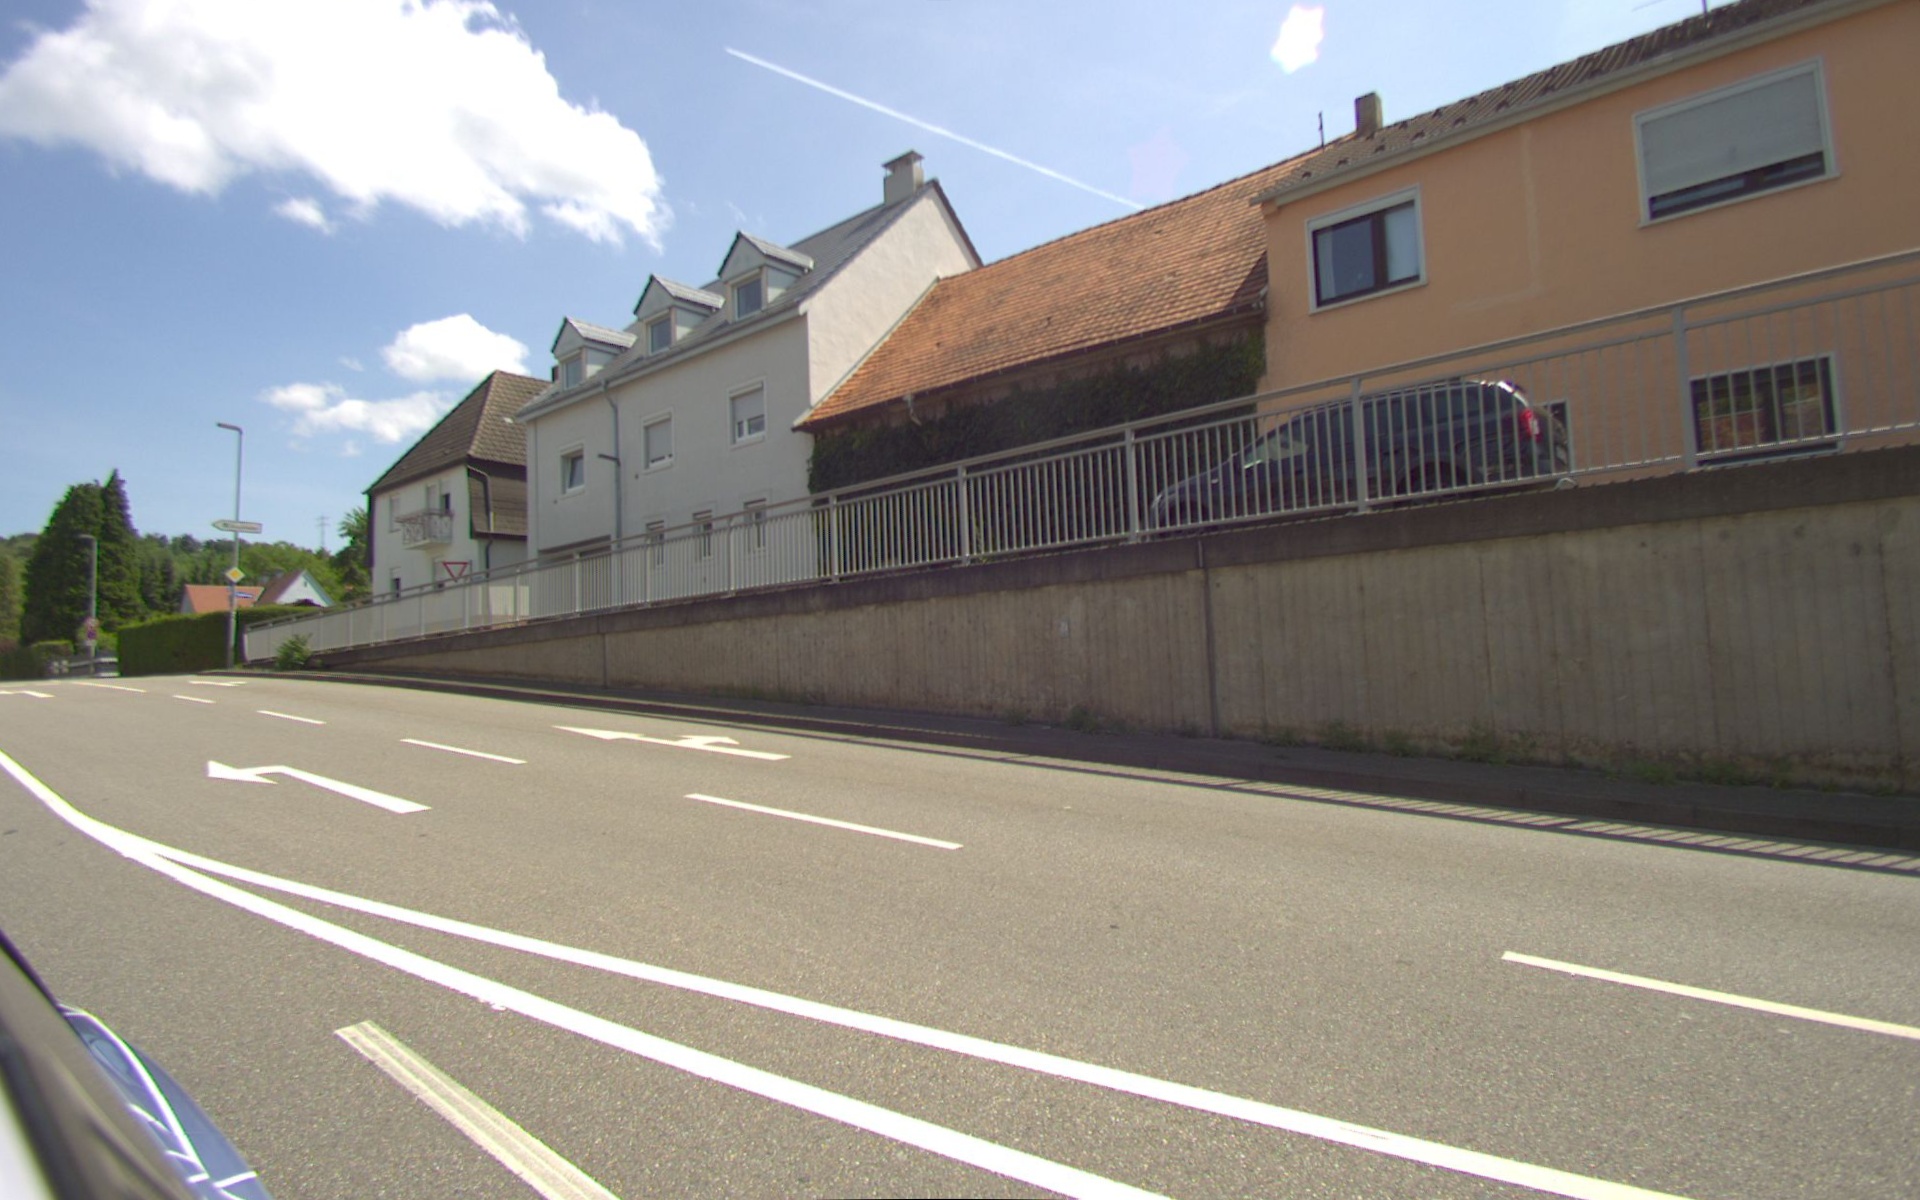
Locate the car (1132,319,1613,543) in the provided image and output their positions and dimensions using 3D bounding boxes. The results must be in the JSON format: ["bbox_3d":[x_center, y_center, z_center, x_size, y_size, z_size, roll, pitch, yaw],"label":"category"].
[{"bbox_3d":[4.235,-1.579,10.830,4.389,1.416,1.767,-5,-4,40],"label":"car"}]
